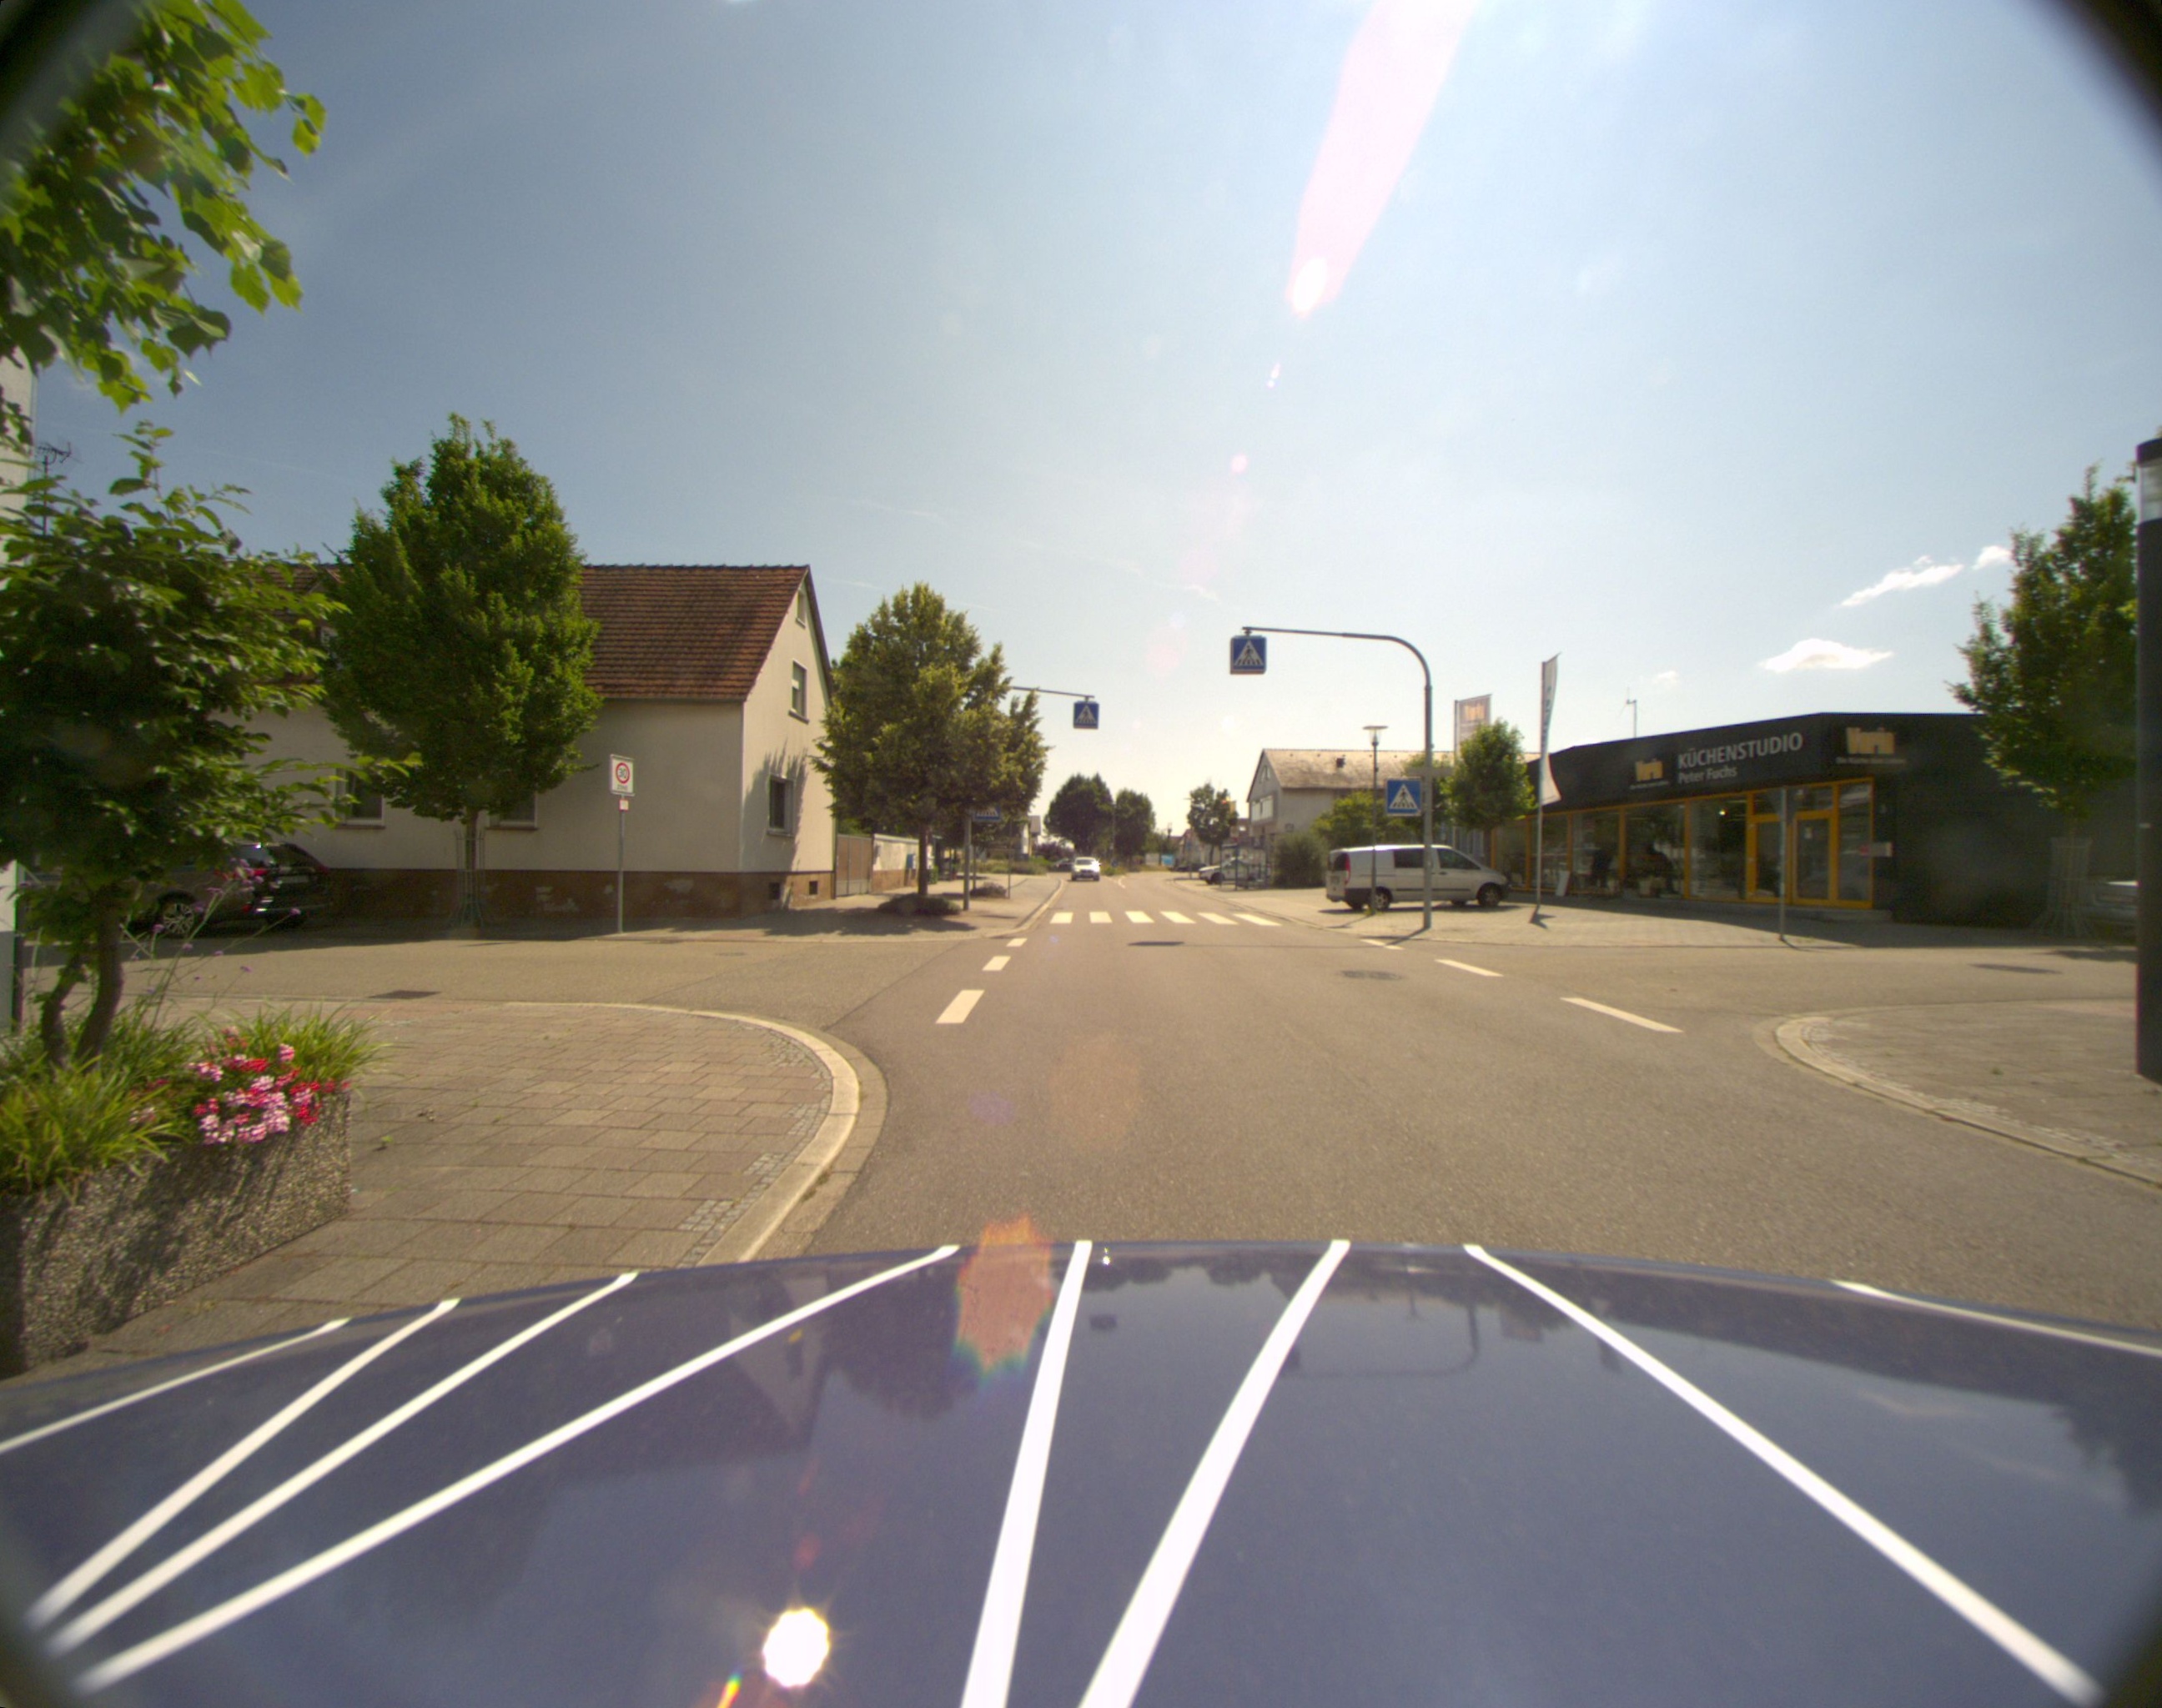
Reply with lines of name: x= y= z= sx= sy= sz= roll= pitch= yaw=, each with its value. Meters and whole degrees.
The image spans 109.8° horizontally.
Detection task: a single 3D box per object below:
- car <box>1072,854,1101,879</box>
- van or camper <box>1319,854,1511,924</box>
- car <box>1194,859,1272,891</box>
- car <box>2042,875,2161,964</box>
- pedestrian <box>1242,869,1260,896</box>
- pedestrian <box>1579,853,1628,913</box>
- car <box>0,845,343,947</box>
car: x=0.314 y=0.829 z=52.240 sx=1.858 sy=1.603 sz=4.134 roll=-2 pitch=0 yaw=-1
van or camper: x=9.750 y=0.998 z=22.457 sx=4.752 sy=1.851 sz=2.000 roll=-2 pitch=0 yaw=0
car: x=9.326 y=1.280 z=46.824 sx=4.251 sy=1.709 sz=1.944 roll=-2 pitch=1 yaw=-5
car: x=20.334 y=1.120 z=13.369 sx=4.435 sy=1.454 sz=1.867 roll=0 pitch=0 yaw=1
pedestrian: x=8.717 y=1.466 z=38.943 sx=0.787 sy=1.350 sz=0.607 roll=-1 pitch=1 yaw=1
pedestrian: x=15.952 y=0.860 z=23.191 sx=1.072 sy=1.765 sz=0.932 roll=-1 pitch=1 yaw=-36
car: x=-15.919 y=0.696 z=13.348 sx=4.175 sy=1.662 sz=1.829 roll=0 pitch=0 yaw=1
